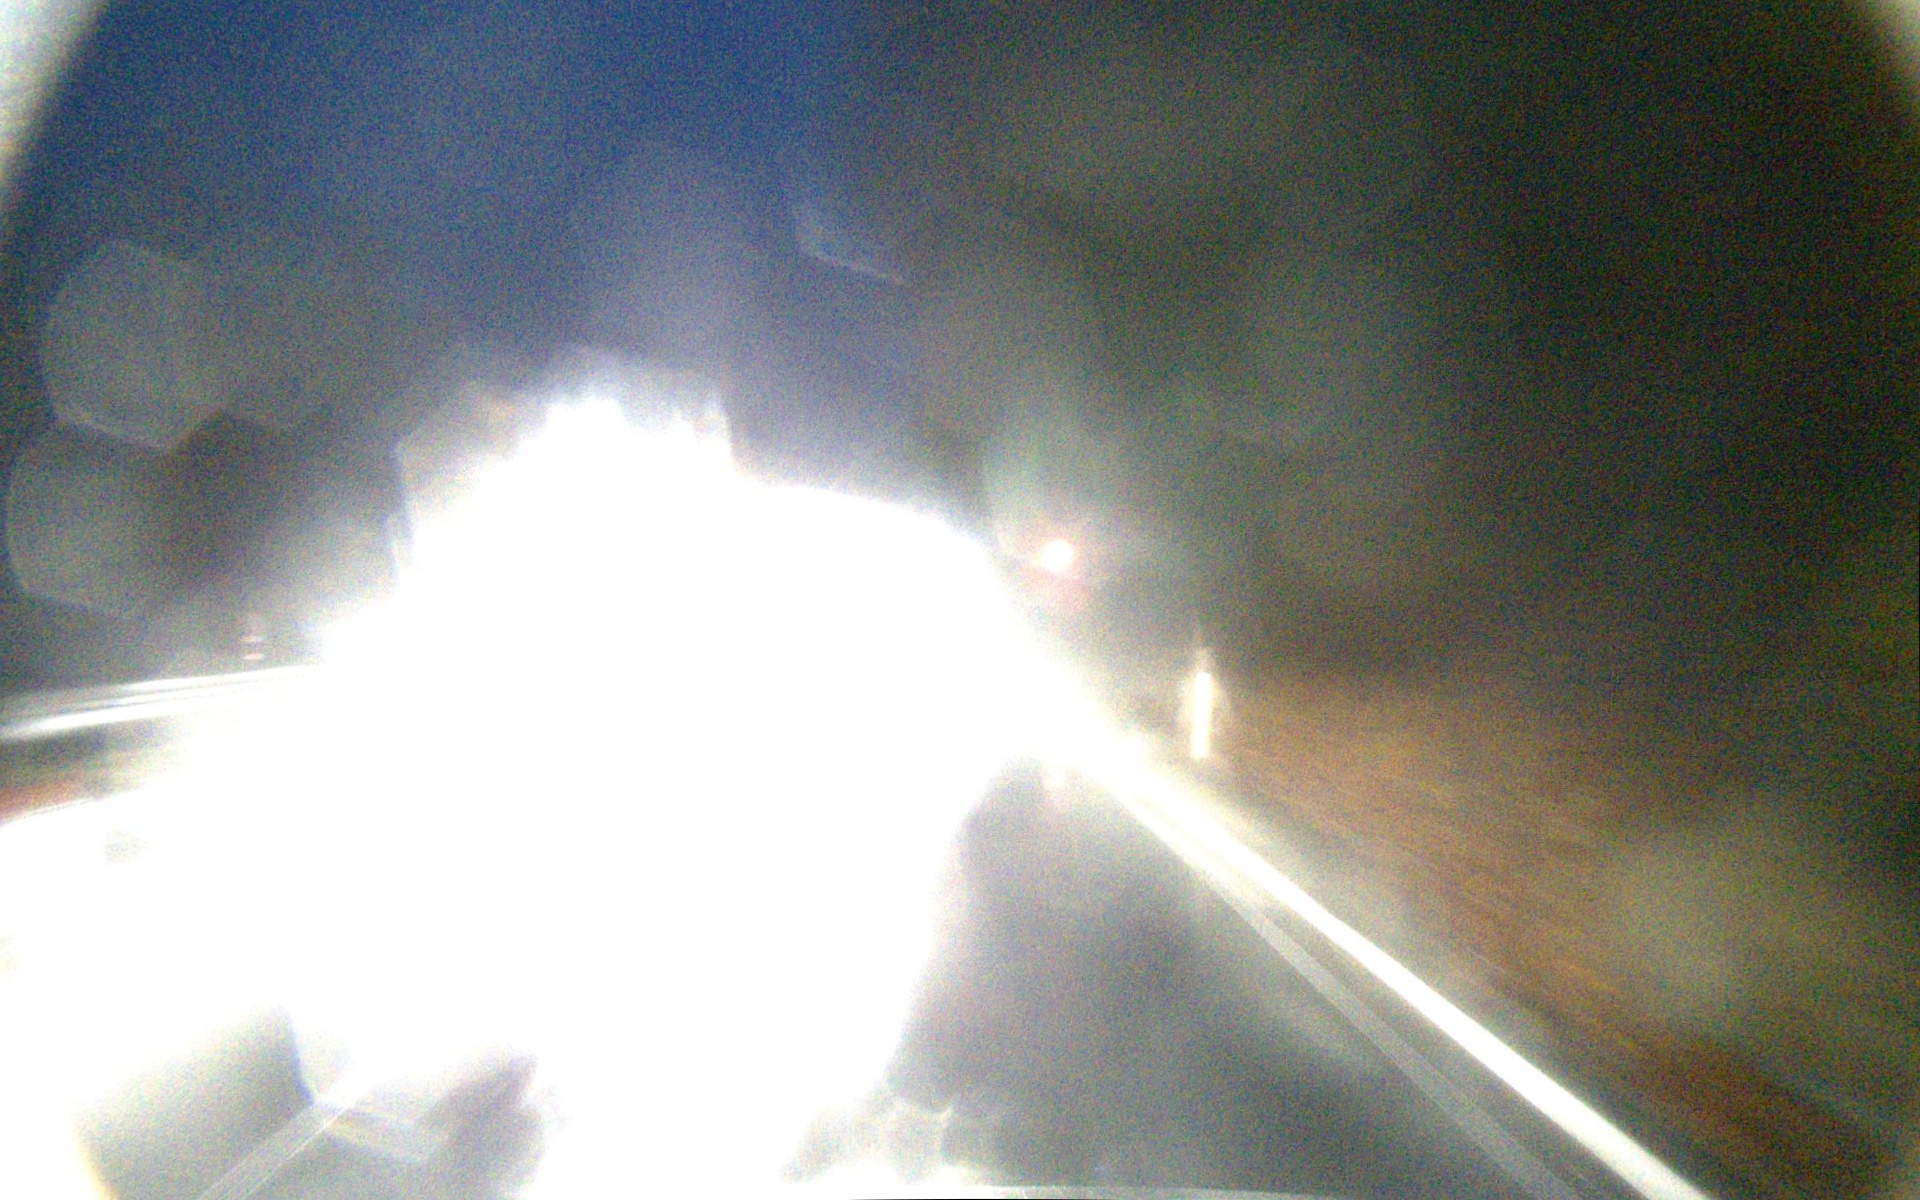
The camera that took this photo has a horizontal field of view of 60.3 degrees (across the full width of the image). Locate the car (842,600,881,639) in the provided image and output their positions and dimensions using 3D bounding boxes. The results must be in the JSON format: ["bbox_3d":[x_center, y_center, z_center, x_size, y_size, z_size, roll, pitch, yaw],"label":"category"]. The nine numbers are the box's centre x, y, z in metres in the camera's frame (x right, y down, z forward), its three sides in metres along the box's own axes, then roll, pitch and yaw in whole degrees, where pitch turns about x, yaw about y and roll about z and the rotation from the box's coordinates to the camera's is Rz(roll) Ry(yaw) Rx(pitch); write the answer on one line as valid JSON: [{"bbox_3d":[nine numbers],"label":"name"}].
[{"bbox_3d":[-5.305,1.063,89.186,1.743,1.912,3.998,-3,-1,0],"label":"car"}]

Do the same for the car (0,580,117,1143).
[{"bbox_3d":[-3.326,0.716,2.986,1.666,1.493,4.039,-1,0,-3],"label":"car"}]

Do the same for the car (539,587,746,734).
[{"bbox_3d":[-3.934,0.704,21.215,1.850,1.663,4.390,1,0,-1],"label":"car"}]

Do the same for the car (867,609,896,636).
[{"bbox_3d":[-5.427,1.566,114.742,1.743,1.732,3.998,-3,-1,0],"label":"car"}]

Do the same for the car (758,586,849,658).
[{"bbox_3d":[-4.002,0.583,42.812,1.999,1.635,3.997,-3,-1,-2],"label":"car"}]
